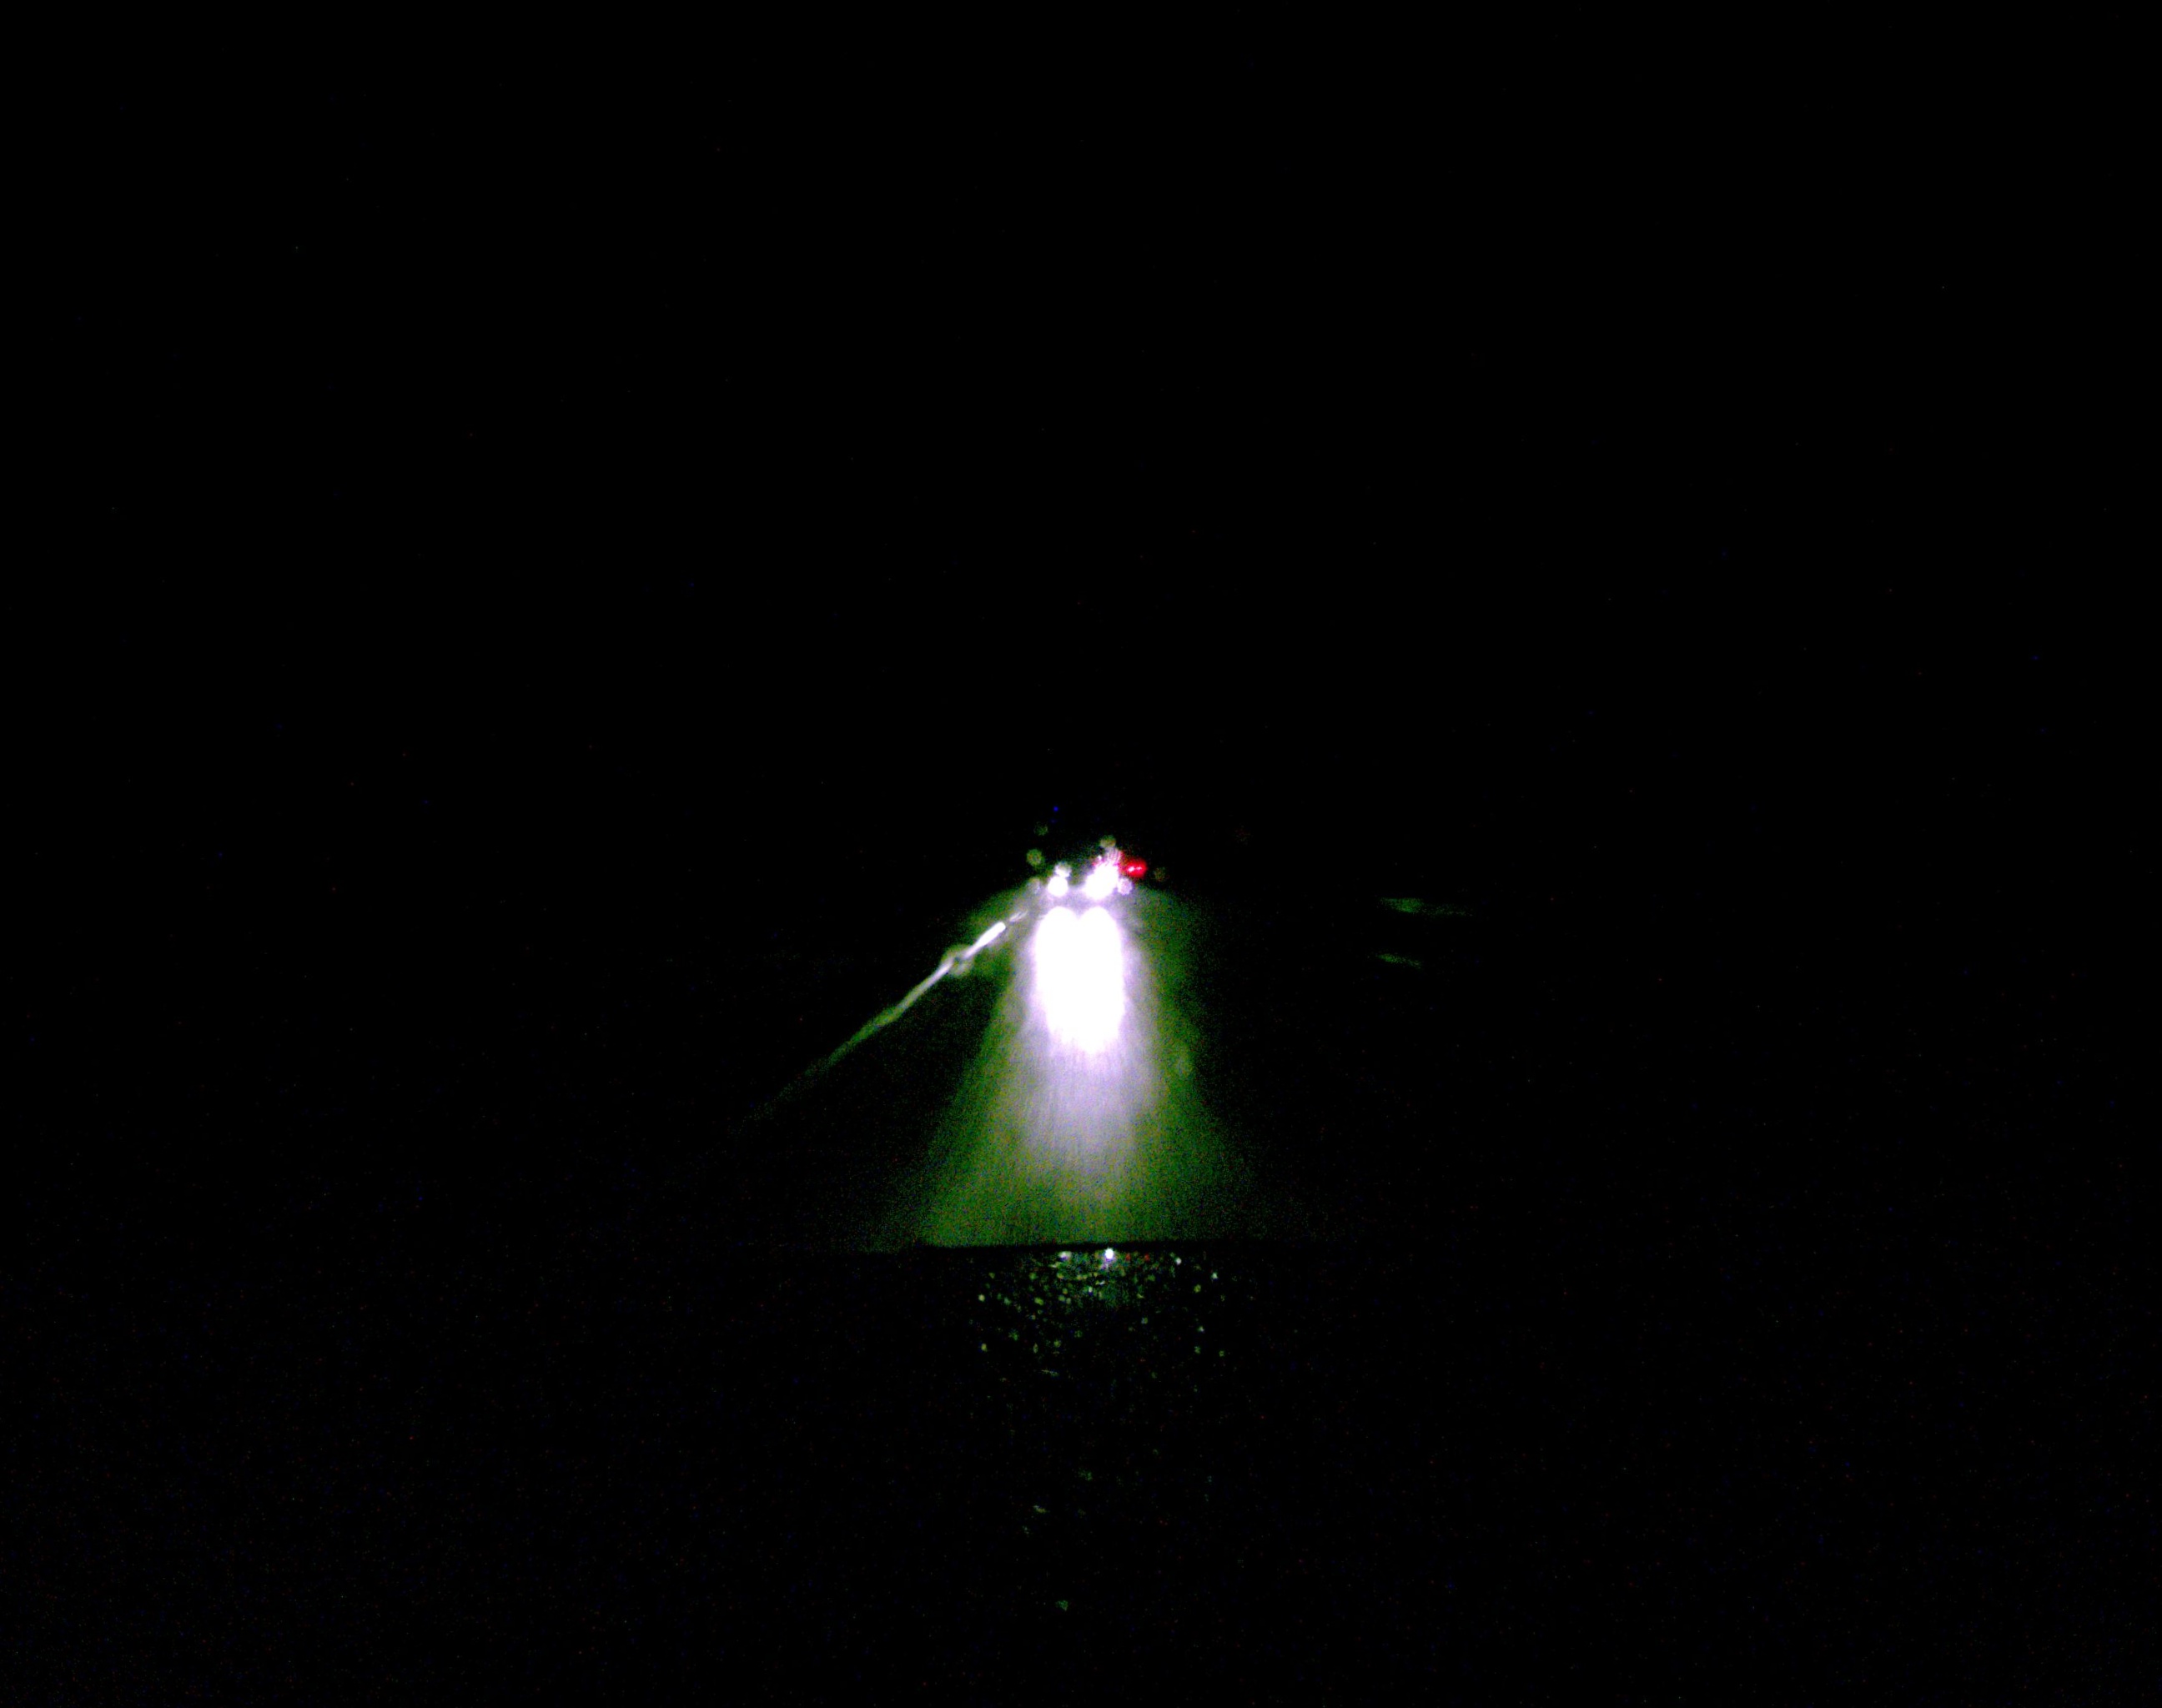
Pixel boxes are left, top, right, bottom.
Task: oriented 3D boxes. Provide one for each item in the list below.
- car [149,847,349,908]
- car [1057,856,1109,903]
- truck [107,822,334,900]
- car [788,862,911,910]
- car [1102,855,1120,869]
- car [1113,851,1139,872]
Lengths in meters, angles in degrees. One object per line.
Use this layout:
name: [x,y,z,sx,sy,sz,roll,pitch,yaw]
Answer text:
car: [-28.888,0.774,26.502,4.754,2.002,2.000,-1,1,1]
car: [0.036,0.931,30.068,1.863,1.601,4.419,-2,1,-1]
truck: [-33.503,0.244,29.840,5.361,2.737,2.222,-2,1,-22]
car: [-8.083,1.077,26.590,3.731,1.512,1.751,0,1,14]
car: [3.740,0.969,94.944,1.951,1.464,4.095,-3,1,0]
car: [3.662,0.624,62.586,1.835,1.637,3.999,-1,1,0]
